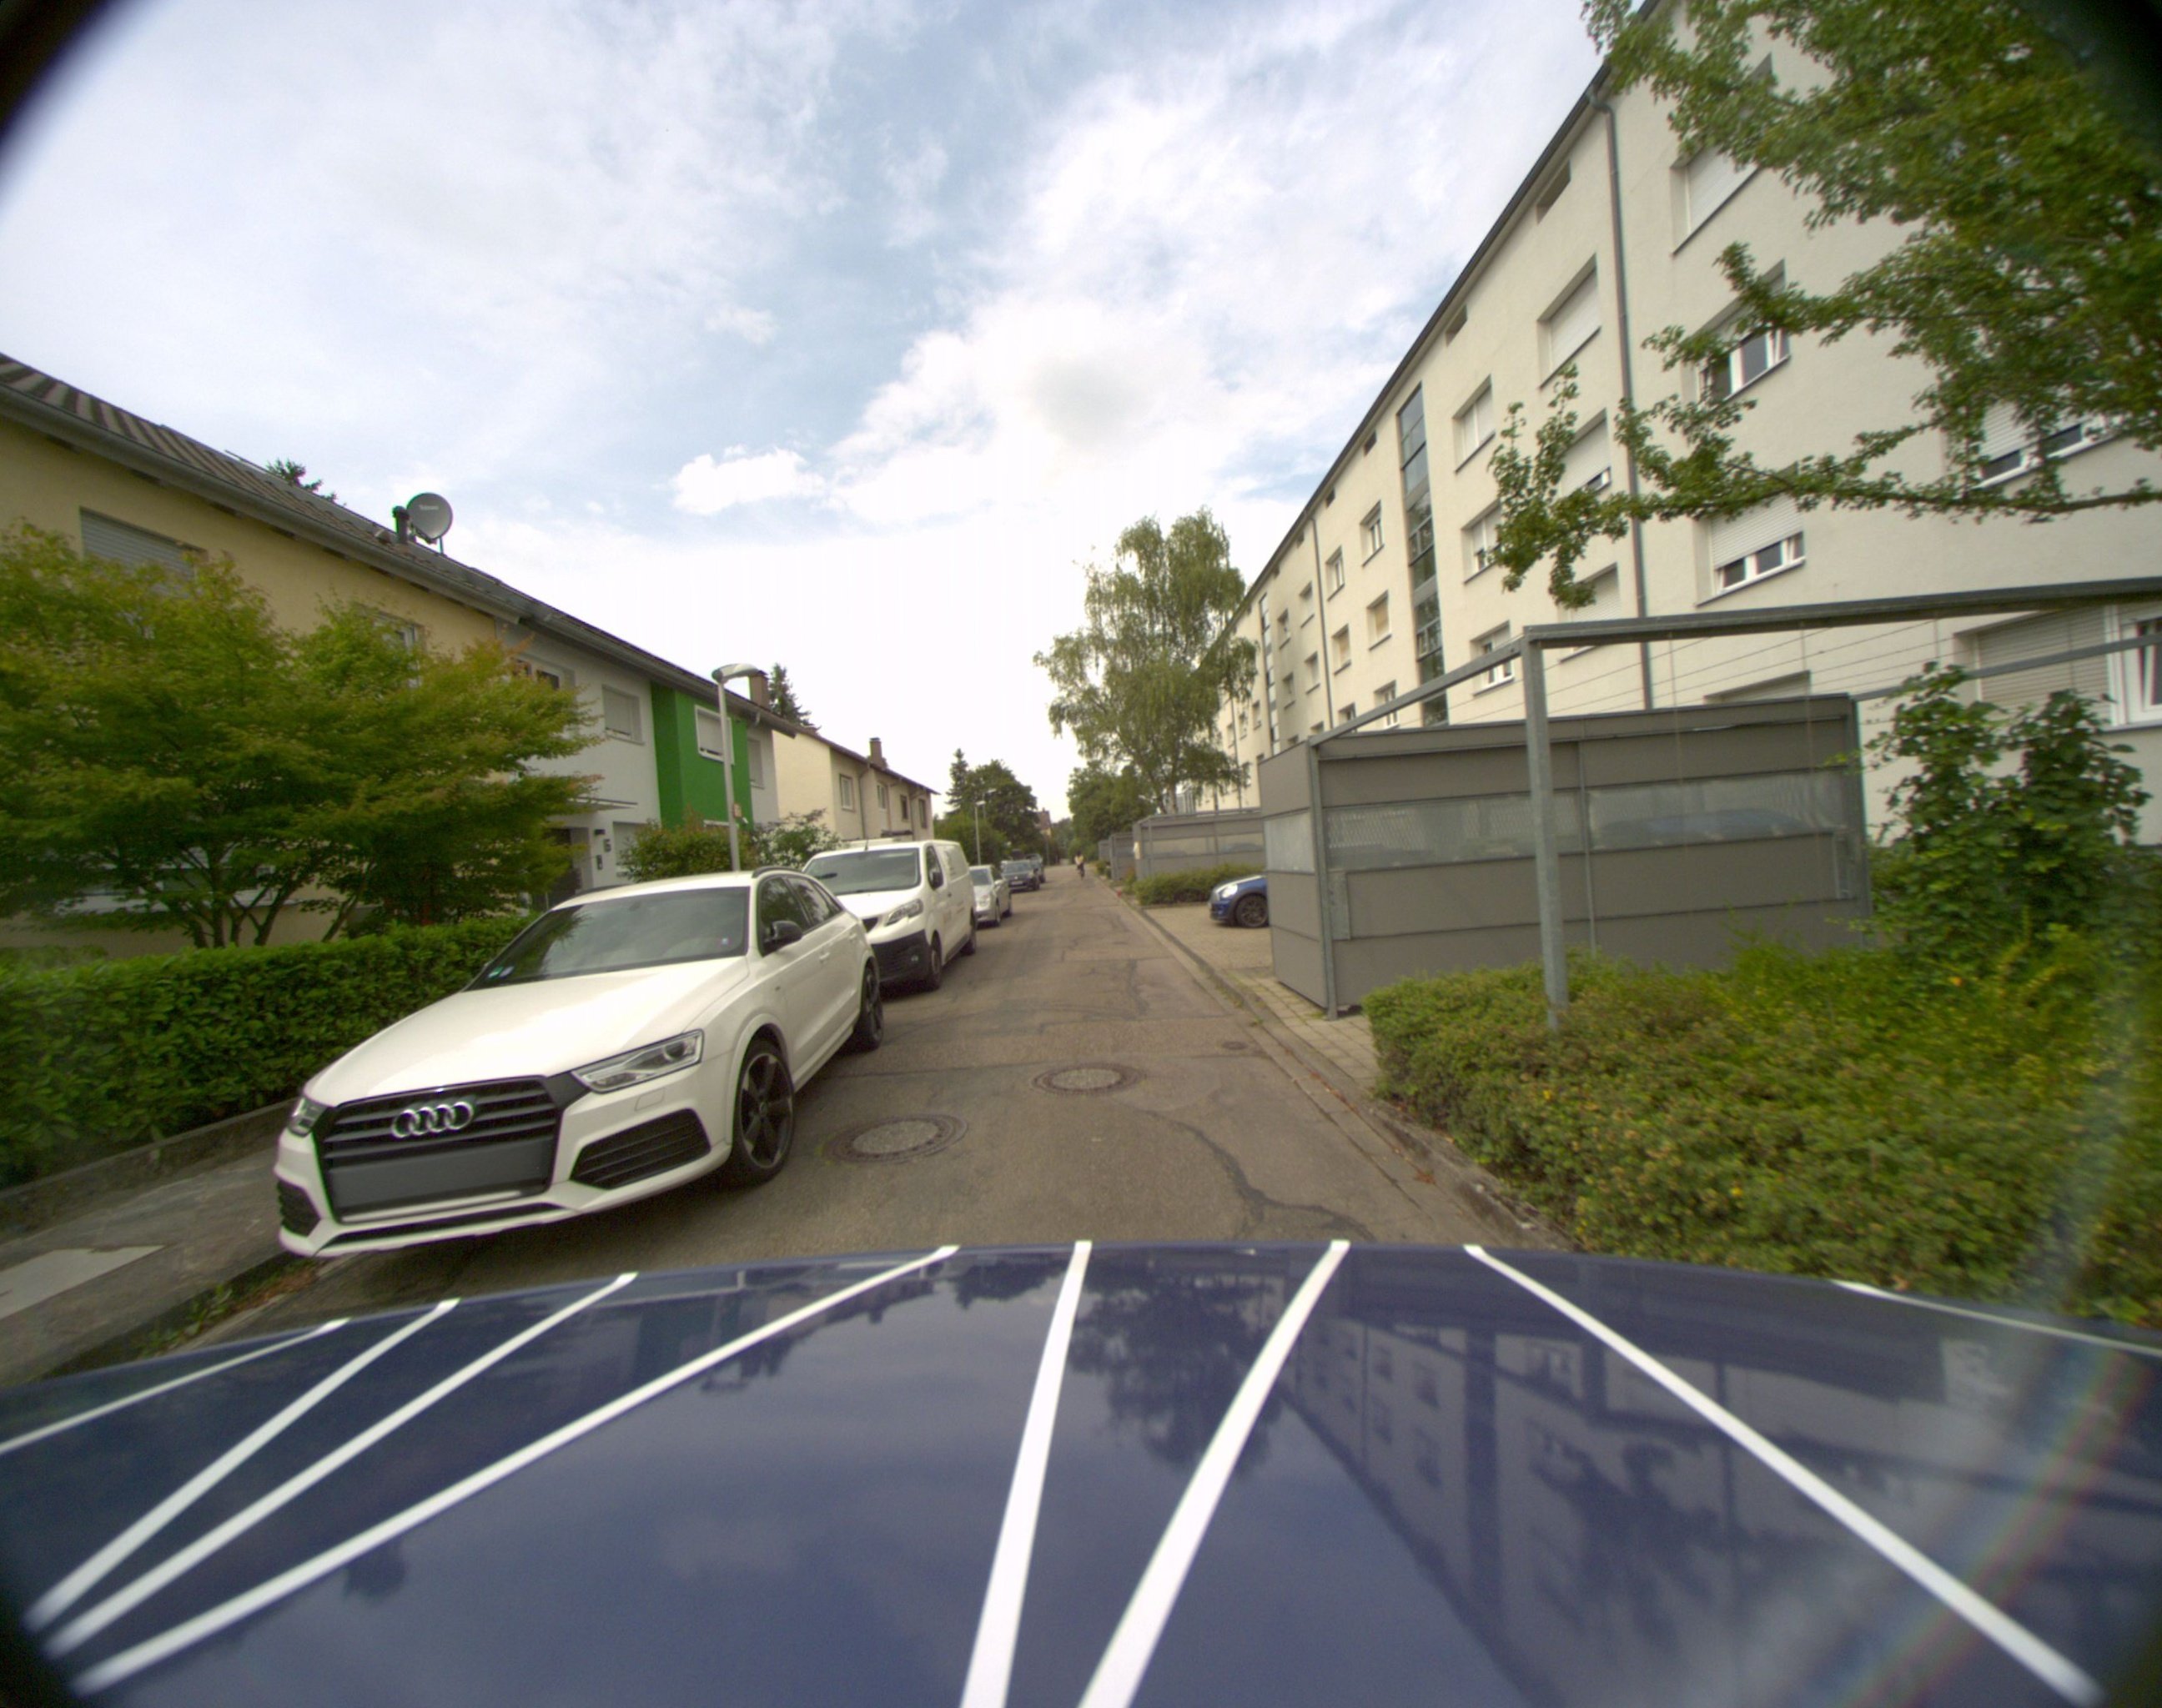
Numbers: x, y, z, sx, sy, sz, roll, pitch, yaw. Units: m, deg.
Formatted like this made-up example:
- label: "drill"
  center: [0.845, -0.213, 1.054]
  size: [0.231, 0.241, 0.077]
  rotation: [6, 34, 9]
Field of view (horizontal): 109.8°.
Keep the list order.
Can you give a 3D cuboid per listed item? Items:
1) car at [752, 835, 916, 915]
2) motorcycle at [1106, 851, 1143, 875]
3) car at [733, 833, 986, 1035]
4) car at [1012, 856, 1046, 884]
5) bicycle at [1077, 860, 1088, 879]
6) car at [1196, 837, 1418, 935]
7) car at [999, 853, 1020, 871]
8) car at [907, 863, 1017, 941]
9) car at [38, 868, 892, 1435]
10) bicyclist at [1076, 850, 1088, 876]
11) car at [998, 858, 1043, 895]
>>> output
- label: "car"
  center: [-8.893, 0.726, 27.734]
  size: [5.100, 2.527, 2.237]
  rotation: [-3, 1, 0]
- label: "motorcycle"
  center: [2.868, 0.577, 50.458]
  size: [2.383, 1.455, 0.714]
  rotation: [-3, 1, -1]
- label: "car"
  center: [-2.679, 0.838, 10.711]
  size: [1.908, 1.953, 5.252]
  rotation: [-6, 0, -1]
- label: "car"
  center: [-3.099, 0.958, 46.322]
  size: [1.834, 1.449, 4.189]
  rotation: [-6, 0, -2]
- label: "bicycle"
  center: [0.100, 0.943, 45.877]
  size: [0.599, 1.070, 2.042]
  rotation: [-3, 1, 1]
- label: "car"
  center: [4.143, 0.567, 14.358]
  size: [3.643, 1.453, 1.653]
  rotation: [-5, 1, 3]
- label: "car"
  center: [-6.757, 0.744, 72.283]
  size: [1.705, 1.458, 3.997]
  rotation: [-4, 2, -3]
- label: "car"
  center: [-2.758, 1.076, 18.656]
  size: [1.788, 1.412, 4.455]
  rotation: [-6, 0, 1]
- label: "car"
  center: [-2.567, 1.033, 4.655]
  size: [1.830, 1.626, 4.160]
  rotation: [-6, 0, -3]
- label: "bicyclist"
  center: [0.079, 0.537, 46.012]
  size: [0.599, 1.572, 0.767]
  rotation: [-3, 1, 1]
- label: "car"
  center: [-2.814, 1.000, 35.938]
  size: [1.834, 1.449, 4.189]
  rotation: [-6, 0, -2]
